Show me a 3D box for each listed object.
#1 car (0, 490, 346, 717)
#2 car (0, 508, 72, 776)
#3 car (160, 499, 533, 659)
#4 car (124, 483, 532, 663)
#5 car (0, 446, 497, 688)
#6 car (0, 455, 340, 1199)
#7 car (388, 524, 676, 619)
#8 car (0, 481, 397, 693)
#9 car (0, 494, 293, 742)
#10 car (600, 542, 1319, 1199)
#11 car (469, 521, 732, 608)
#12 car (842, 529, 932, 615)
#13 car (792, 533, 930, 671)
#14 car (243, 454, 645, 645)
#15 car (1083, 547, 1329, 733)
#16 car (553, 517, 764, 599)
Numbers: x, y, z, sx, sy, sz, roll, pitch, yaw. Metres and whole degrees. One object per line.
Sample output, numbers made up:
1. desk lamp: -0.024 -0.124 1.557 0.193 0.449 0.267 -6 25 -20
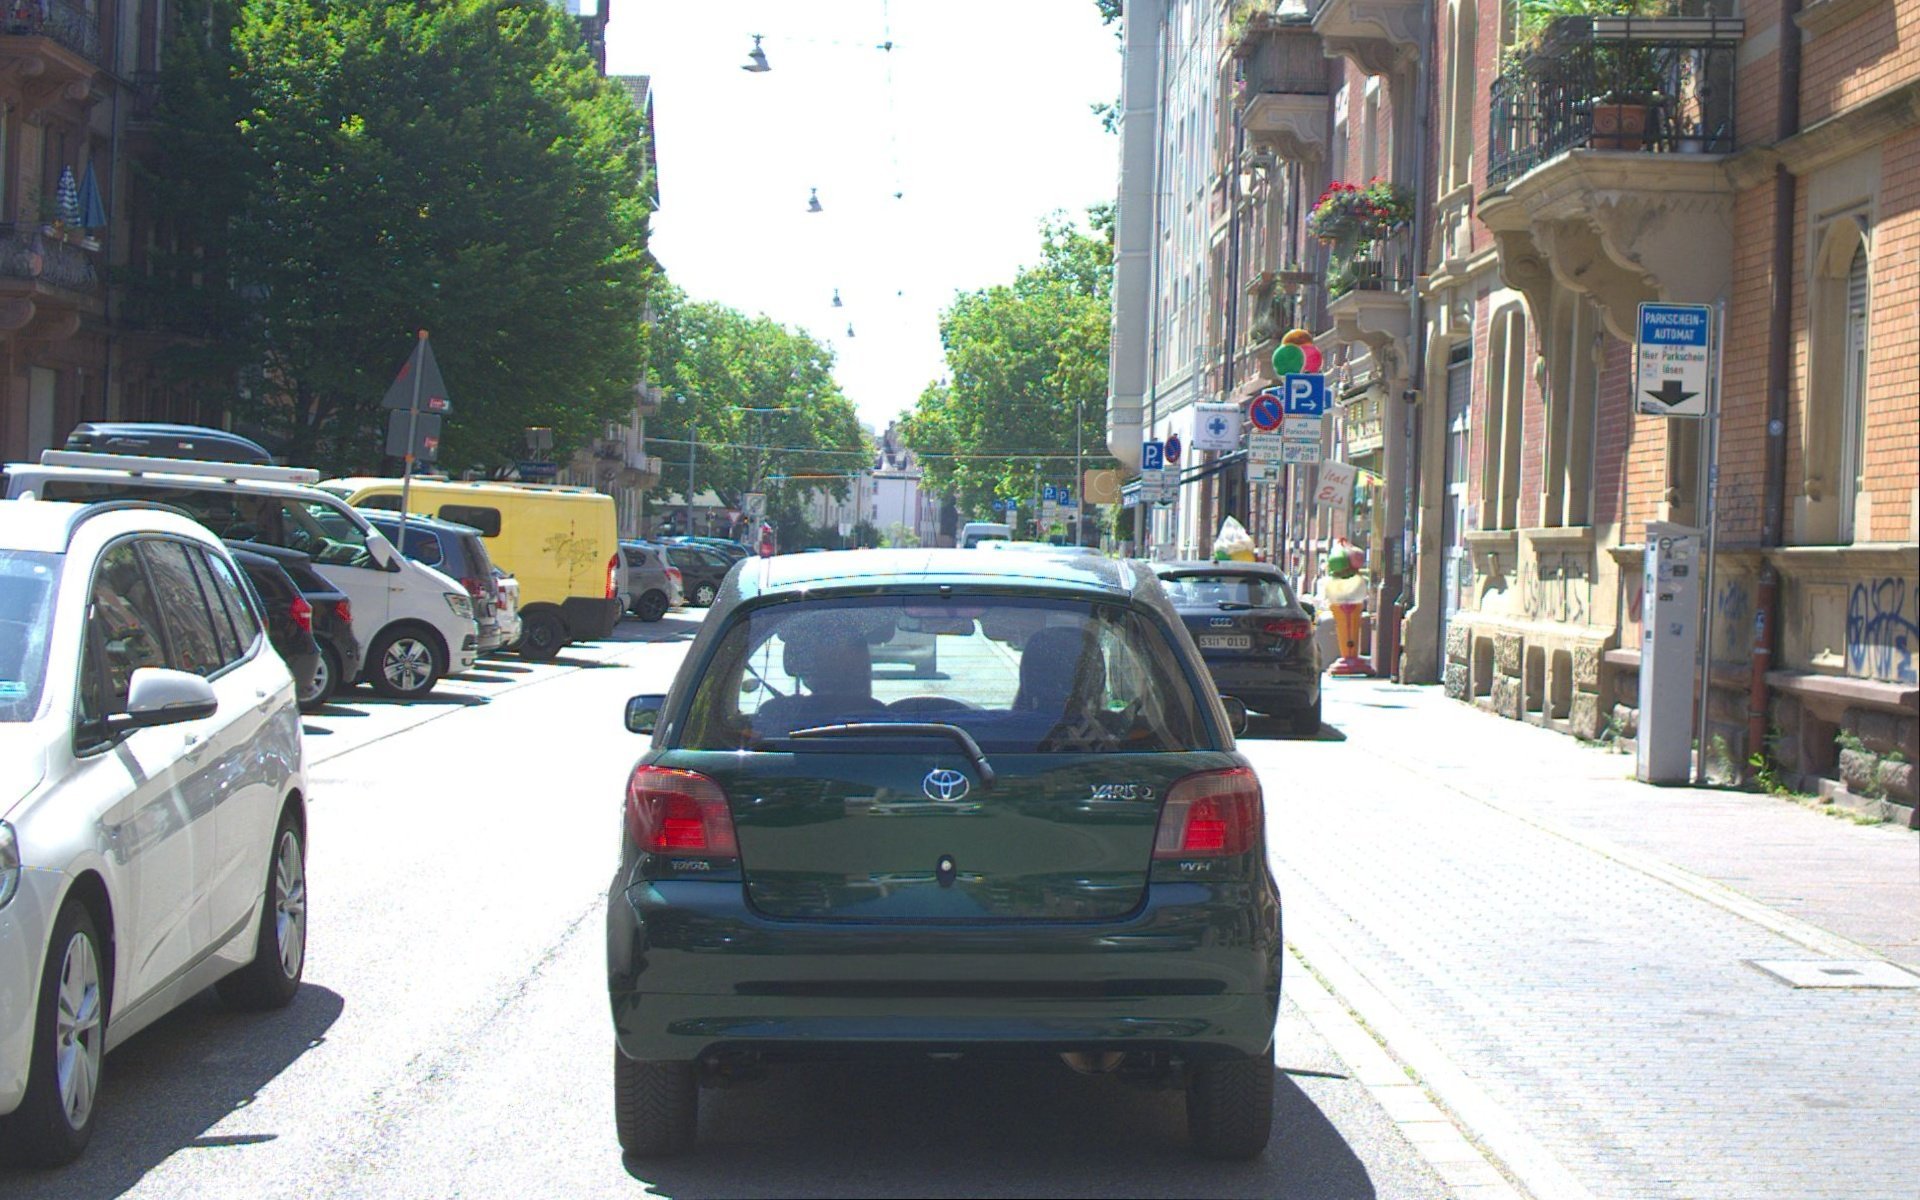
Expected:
1. car: -6.941 -0.015 26.595 3.909 1.613 1.866 3 1 -24
2. car: -7.619 0.157 21.026 3.909 1.613 1.866 3 1 -24
3. car: -7.091 -0.241 39.727 3.861 1.634 1.786 3 1 -24
4. car: -6.793 -0.293 36.938 3.909 1.702 1.866 3 1 -24
5. car: -6.941 -0.301 31.784 4.772 1.987 2.054 3 1 -29
6. car: -2.964 0.479 9.447 1.754 1.639 4.378 0 1 0
7. car: -7.546 -0.496 60.644 4.557 1.429 2.000 3 1 -27
8. car: -6.974 -0.134 29.183 3.909 1.613 1.866 3 1 -24
9. car: -6.826 0.066 23.892 3.909 1.613 1.866 3 1 -24
10. car: -0.076 0.598 9.484 1.613 1.480 3.241 1 1 -3
11. car: -6.928 -0.683 66.243 4.557 1.424 2.000 3 1 -27
12. car: -1.424 -0.566 68.032 1.522 1.587 3.264 3 1 2
13. car: -1.175 -0.008 41.373 1.522 1.516 3.264 3 1 -1
14. car: -6.556 -0.634 43.763 4.557 2.180 2.000 3 1 -27
15. car: 2.047 0.293 29.615 1.754 1.424 4.000 2 1 0
16. car: -7.295 -1.021 83.297 4.606 1.720 2.000 3 1 -27
